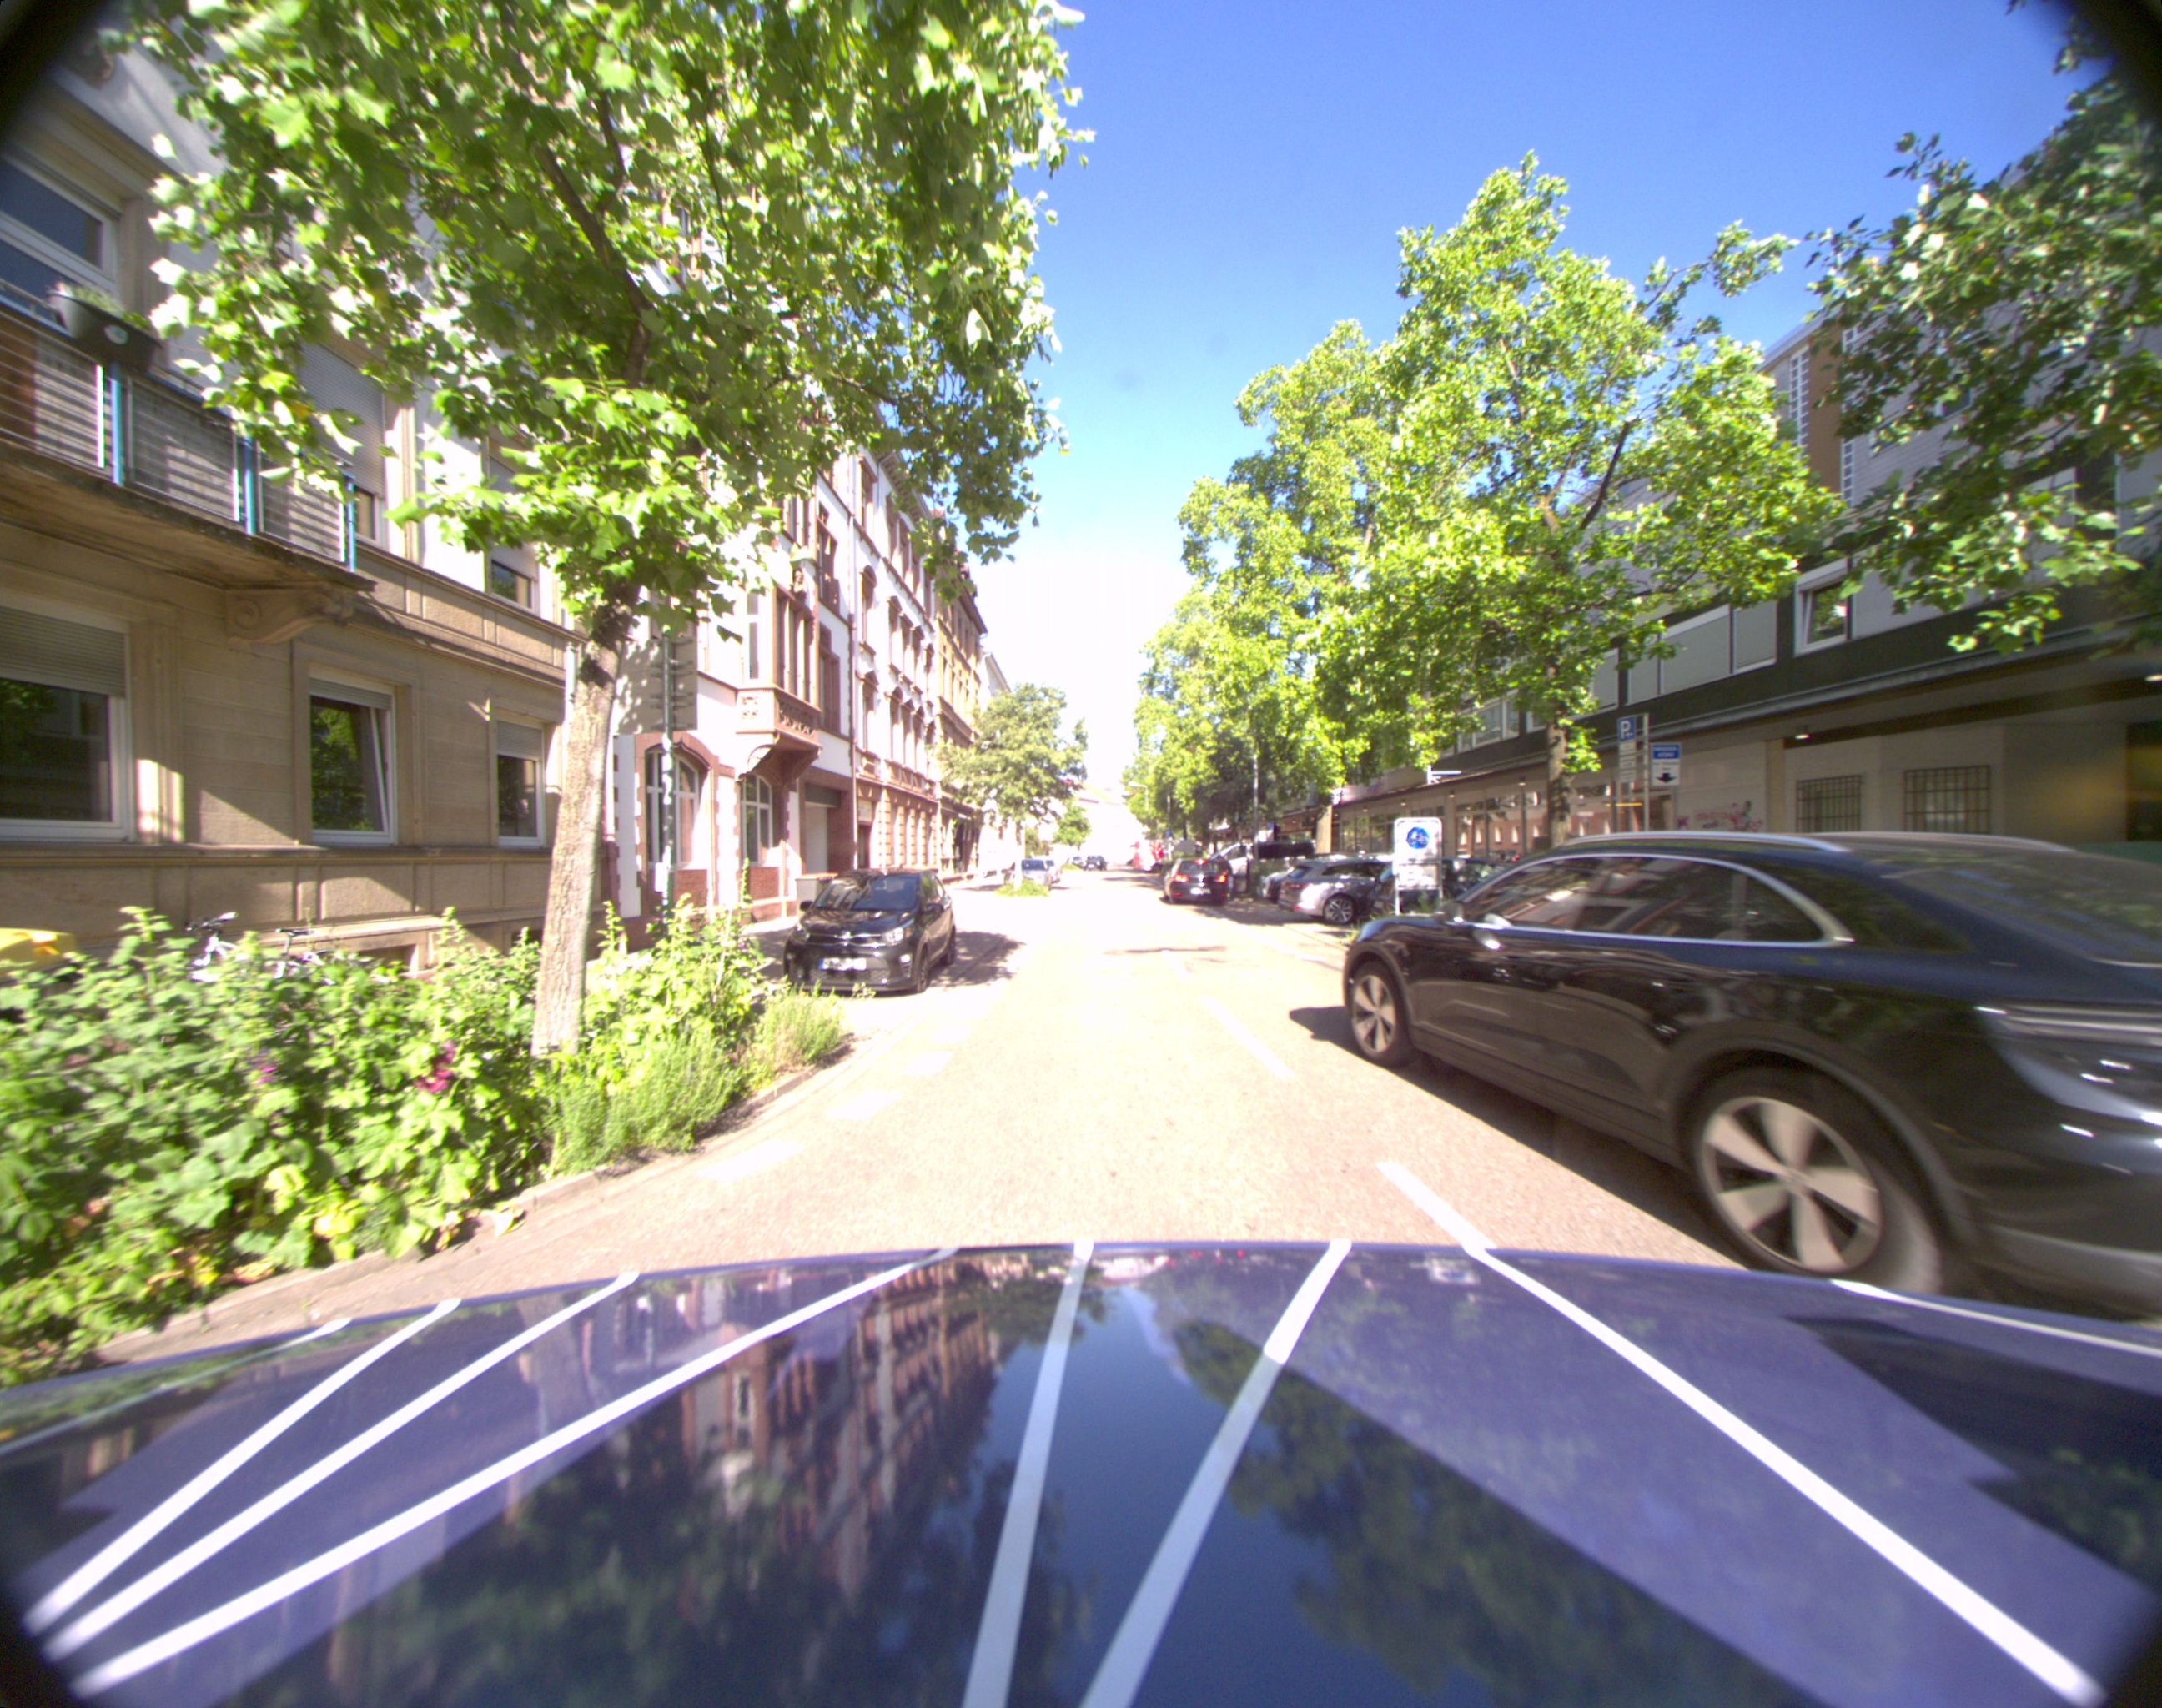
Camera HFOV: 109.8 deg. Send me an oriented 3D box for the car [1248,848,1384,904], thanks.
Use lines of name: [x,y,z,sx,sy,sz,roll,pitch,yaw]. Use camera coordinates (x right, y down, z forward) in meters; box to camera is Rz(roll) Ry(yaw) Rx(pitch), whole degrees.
car: [7.187,0.645,23.420,3.609,1.543,1.683,-2,1,-8]

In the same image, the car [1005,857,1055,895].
car: [-2.103,0.868,32.312,1.743,1.443,4.307,-1,0,1]

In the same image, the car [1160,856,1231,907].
car: [3.599,0.817,24.445,1.767,1.430,3.960,0,1,1]

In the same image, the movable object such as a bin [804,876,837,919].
movable object such as a bin: [-6.574,1.095,19.186,0.639,1.063,0.521,-1,1,1]

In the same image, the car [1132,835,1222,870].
car: [7.414,-0.136,58.637,6.609,2.459,1.997,-2,1,-20]

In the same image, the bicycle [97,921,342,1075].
bicycle: [-7.252,1.163,6.497,0.433,1.025,1.428,2,0,1]

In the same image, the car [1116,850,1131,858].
car: [8.338,0.000,148.759,1.632,1.412,3.299,-1,0,25]

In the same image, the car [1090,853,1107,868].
car: [1.736,0.653,74.900,1.612,1.444,3.295,-1,0,1]

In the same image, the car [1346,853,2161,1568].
car: [3.221,0.820,3.853,1.872,1.604,4.425,-1,0,-5]

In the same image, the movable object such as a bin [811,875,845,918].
movable object such as a bin: [-6.571,1.090,19.748,0.639,1.063,0.639,-1,1,1]

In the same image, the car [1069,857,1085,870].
car: [-0.488,1.138,92.707,1.720,1.445,4.000,0,1,2]

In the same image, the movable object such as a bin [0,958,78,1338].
movable object such as a bin: [-4.713,1.147,2.628,1.274,1.340,1.105,-1,1,-41]

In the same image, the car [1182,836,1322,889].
car: [6.990,0.327,31.445,5.305,1.963,2.015,-2,0,1]

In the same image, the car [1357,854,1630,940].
car: [7.794,0.787,14.644,4.315,1.425,1.644,-2,1,1]

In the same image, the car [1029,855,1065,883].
car: [-1.852,0.793,42.480,1.743,1.443,4.000,-1,0,1]

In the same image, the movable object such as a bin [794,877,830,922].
movable object such as a bin: [-6.567,1.097,18.568,0.639,1.063,0.632,-1,1,1]

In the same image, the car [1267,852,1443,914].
car: [7.232,0.733,20.302,3.998,1.455,1.812,-2,0,-4]

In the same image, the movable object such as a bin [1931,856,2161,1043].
movable object such as a bin: [8.452,0.753,6.461,1.232,1.442,1.076,-1,1,10]

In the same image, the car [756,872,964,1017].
car: [-2.677,1.026,10.061,1.639,1.467,3.580,0,0,1]

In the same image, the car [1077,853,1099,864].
car: [1.291,0.735,134.885,1.908,1.924,4.818,-1,0,28]

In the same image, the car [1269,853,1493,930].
car: [6.601,0.803,17.090,4.315,1.452,1.762,-2,0,4]
